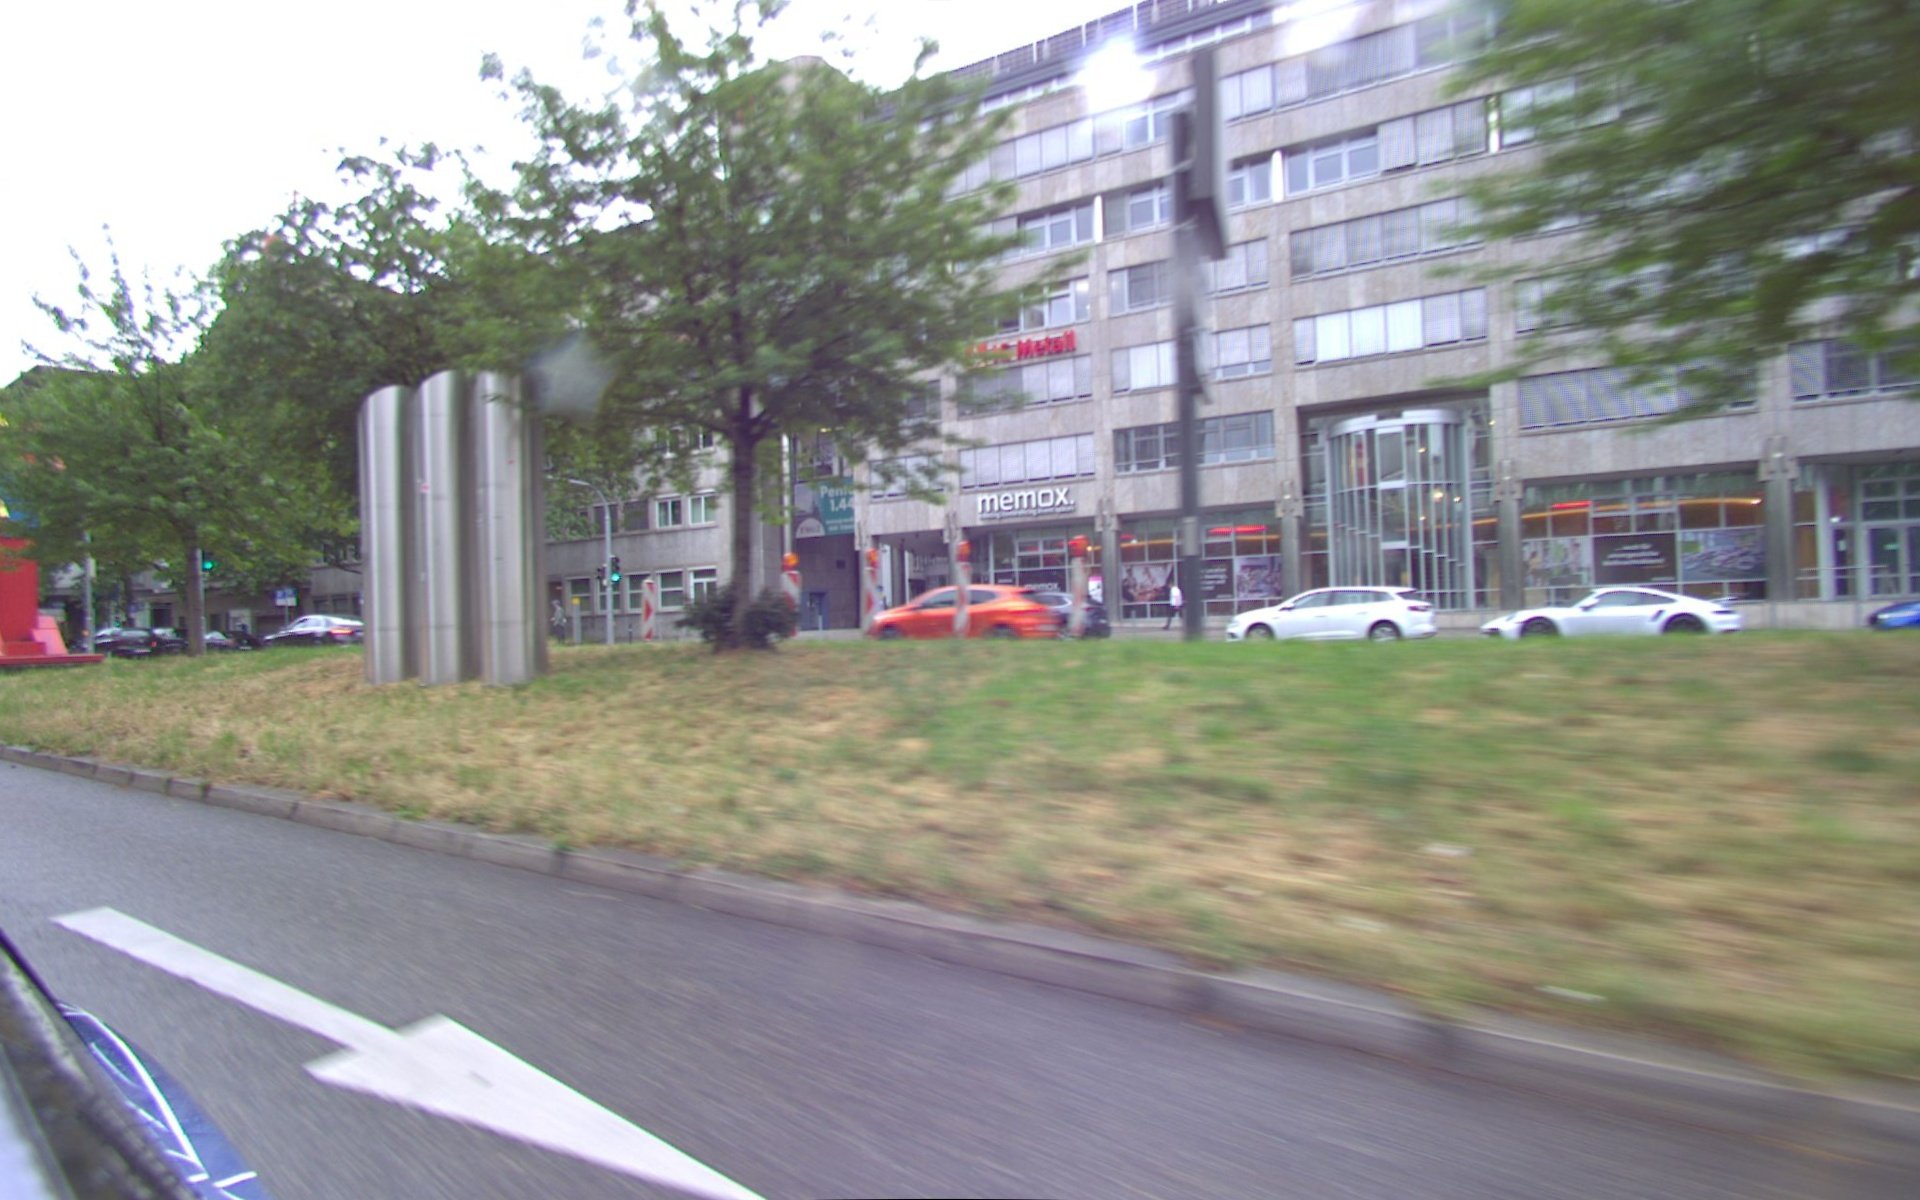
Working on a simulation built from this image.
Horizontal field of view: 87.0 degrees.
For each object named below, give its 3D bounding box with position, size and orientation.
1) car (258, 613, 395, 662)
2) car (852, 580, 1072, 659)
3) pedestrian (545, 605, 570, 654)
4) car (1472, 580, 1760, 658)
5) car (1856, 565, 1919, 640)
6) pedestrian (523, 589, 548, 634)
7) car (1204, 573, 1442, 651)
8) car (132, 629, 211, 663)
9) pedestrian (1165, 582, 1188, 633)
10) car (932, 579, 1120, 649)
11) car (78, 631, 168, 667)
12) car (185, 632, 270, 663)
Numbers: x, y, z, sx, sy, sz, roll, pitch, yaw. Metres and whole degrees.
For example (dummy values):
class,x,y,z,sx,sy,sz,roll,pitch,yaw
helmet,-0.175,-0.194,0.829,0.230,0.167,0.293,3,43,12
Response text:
class,x,y,z,sx,sy,sz,roll,pitch,yaw
car,-20.223,1.207,32.255,4.548,1.440,1.848,-2,-2,31
car,0.018,0.439,20.687,4.114,1.440,1.849,-2,-2,29
pedestrian,-14.899,1.090,37.453,0.720,1.801,0.523,-3,-1,36
car,13.126,0.432,20.578,4.668,1.412,1.762,-2,-2,32
car,19.195,-0.001,18.022,4.456,1.335,1.880,-2,-1,28
pedestrian,-15.738,0.431,37.547,0.618,1.641,0.600,-3,-1,36
car,8.335,0.306,23.416,4.896,1.634,1.762,-2,-1,32
car,-41.046,2.409,52.666,4.452,1.634,1.847,-2,-2,32
pedestrian,7.754,0.273,36.246,0.527,1.801,0.713,-2,-1,32
car,1.737,0.411,27.393,4.776,1.739,1.848,-2,-1,32
car,-34.420,2.026,41.601,3.988,1.425,1.775,-3,-3,33
car,-36.244,2.352,50.064,4.550,1.440,1.847,-2,-2,32
